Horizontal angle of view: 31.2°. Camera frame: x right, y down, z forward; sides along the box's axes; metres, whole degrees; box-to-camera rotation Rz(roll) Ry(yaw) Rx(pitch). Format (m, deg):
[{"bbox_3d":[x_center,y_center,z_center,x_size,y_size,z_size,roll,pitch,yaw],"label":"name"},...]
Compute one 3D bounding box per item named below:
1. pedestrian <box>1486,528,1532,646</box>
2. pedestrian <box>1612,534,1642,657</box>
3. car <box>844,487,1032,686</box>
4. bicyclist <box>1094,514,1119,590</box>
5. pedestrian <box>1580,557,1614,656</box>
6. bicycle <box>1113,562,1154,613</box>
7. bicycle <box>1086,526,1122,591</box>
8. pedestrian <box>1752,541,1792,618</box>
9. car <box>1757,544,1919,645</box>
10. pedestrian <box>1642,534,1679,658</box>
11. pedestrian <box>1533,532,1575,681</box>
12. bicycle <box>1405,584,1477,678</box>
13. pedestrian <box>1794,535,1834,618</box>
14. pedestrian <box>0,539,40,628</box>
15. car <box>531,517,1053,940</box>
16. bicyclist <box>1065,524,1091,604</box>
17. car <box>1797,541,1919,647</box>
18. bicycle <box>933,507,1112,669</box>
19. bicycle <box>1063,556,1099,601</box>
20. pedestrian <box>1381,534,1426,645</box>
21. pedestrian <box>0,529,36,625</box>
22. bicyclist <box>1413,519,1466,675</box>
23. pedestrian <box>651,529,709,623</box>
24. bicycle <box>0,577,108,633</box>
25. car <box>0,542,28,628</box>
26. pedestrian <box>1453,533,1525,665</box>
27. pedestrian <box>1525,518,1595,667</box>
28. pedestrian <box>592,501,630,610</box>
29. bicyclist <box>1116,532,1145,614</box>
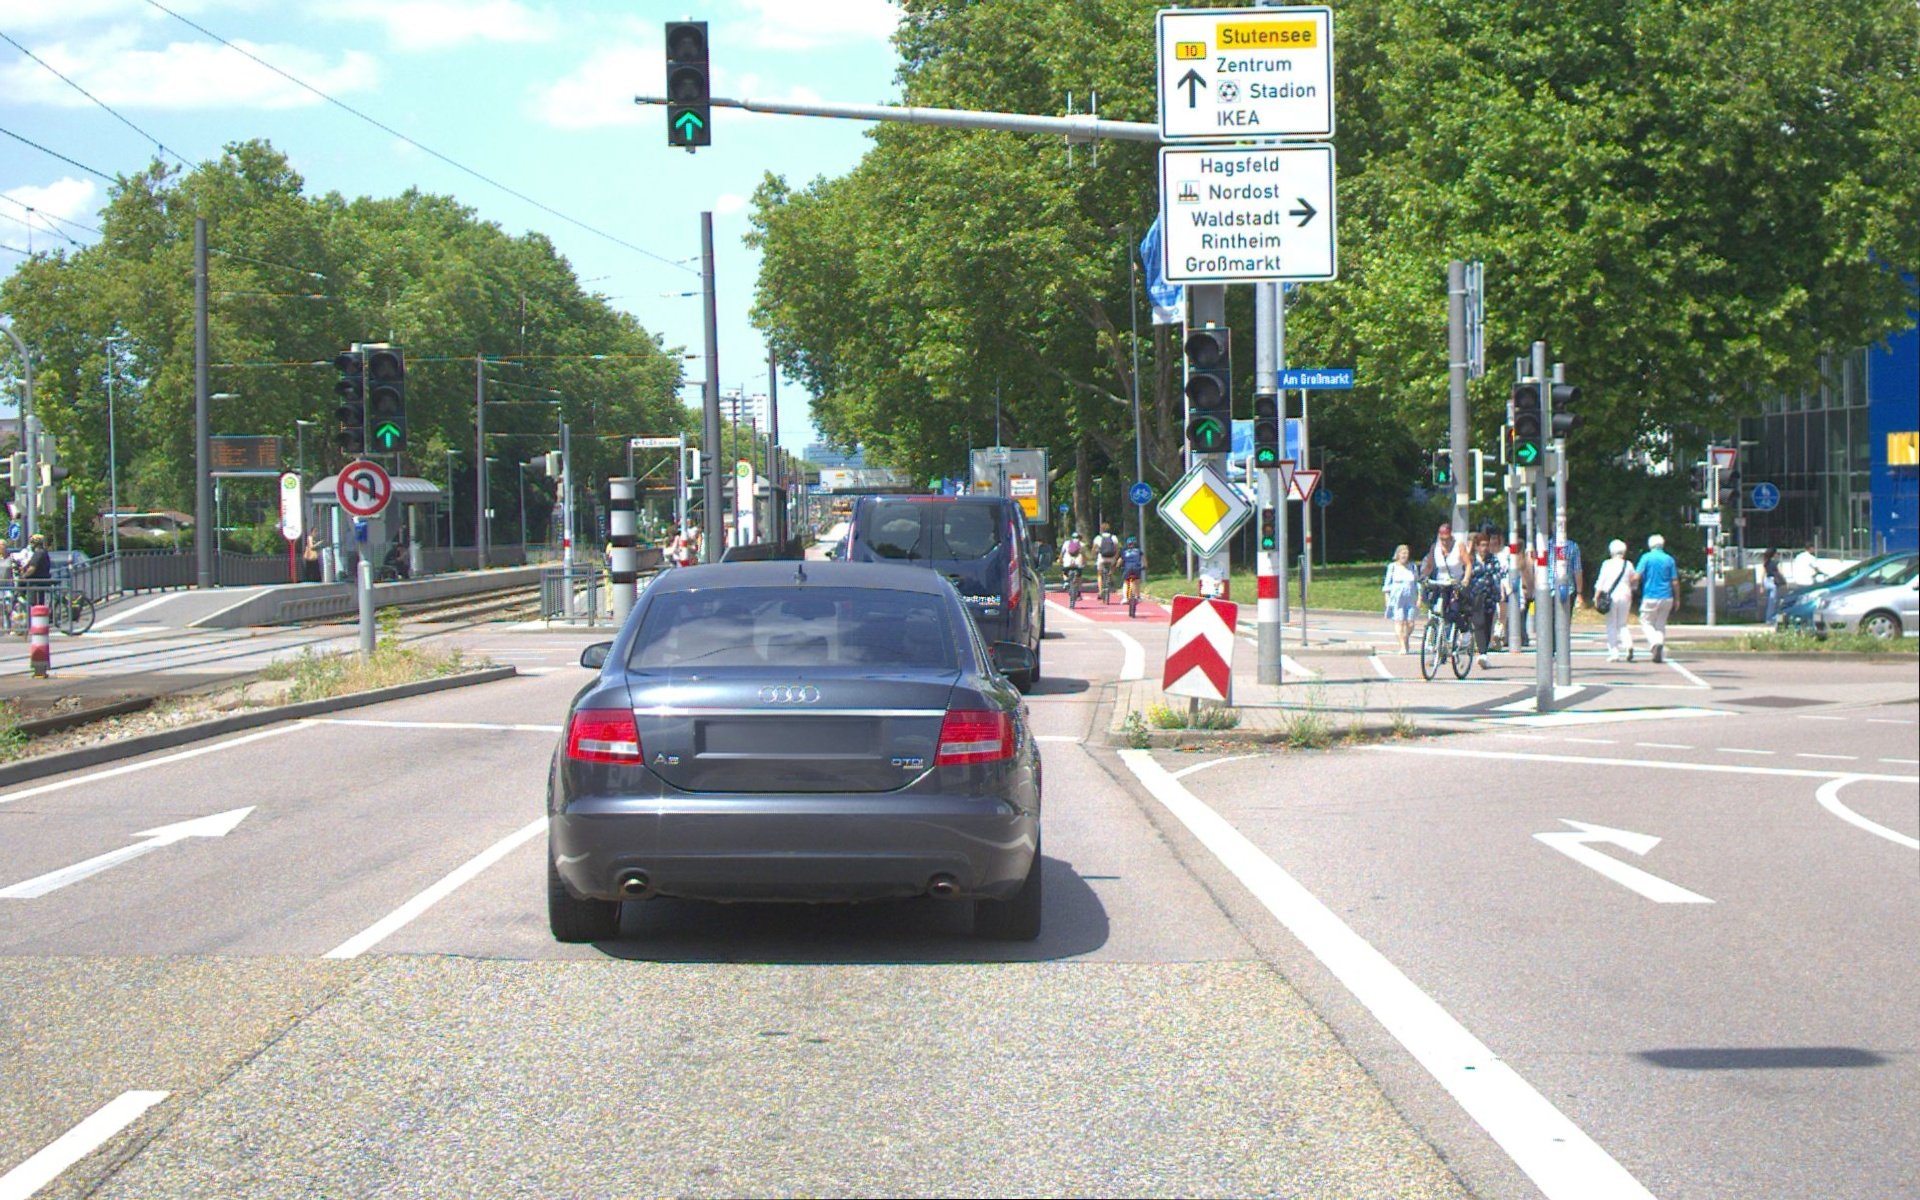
[{"bbox_3d":[7.651,-0.180,47.926,0.554,1.629,0.433,1,1,2],"label":"pedestrian"},{"bbox_3d":[8.848,-0.066,45.632,0.320,1.629,0.377,1,1,2],"label":"pedestrian"},{"bbox_3d":[-0.257,-0.164,35.642,1.836,1.943,4.000,0,1,-1],"label":"car"},{"bbox_3d":[3.451,-1.135,81.152,0.528,1.783,1.088,0,1,-1],"label":"bicyclist"},{"bbox_3d":[8.462,0.083,45.666,0.372,1.299,0.365,1,1,2],"label":"pedestrian"},{"bbox_3d":[3.594,-0.262,71.375,0.687,1.002,2.752,1,1,-1],"label":"bicycle"},{"bbox_3d":[3.422,-1.007,81.889,0.687,1.514,2.752,1,1,-1],"label":"bicycle"},{"bbox_3d":[16.276,-0.414,68.896,0.705,1.539,0.677,1,1,18],"label":"pedestrian"},{"bbox_3d":[14.589,-0.077,53.796,3.789,1.481,2.000,2,1,3],"label":"car"},{"bbox_3d":[9.294,-0.053,45.621,0.398,1.629,0.371,1,1,2],"label":"pedestrian"},{"bbox_3d":[6.533,0.070,37.823,0.381,1.629,0.377,1,1,2],"label":"pedestrian"},{"bbox_3d":[5.502,0.338,39.241,0.660,1.018,1.860,1,1,13],"label":"bicycle"},{"bbox_3d":[17.021,-0.474,68.520,0.705,1.629,0.611,1,1,18],"label":"pedestrian"},{"bbox_3d":[-16.602,-0.295,60.513,0.685,1.559,0.573,0,1,-4],"label":"pedestrian"},{"bbox_3d":[-0.609,0.395,13.841,1.792,1.450,4.000,0,1,-1],"label":"car"},{"bbox_3d":[2.669,-0.810,77.629,0.528,1.783,1.088,0,1,0],"label":"bicyclist"},{"bbox_3d":[14.802,-0.063,50.546,4.497,1.481,2.000,2,1,3],"label":"car"},{"bbox_3d":[0.871,-0.182,45.011,1.994,2.007,3.999,1,1,6],"label":"bicycle"},{"bbox_3d":[2.724,-0.494,77.497,0.687,0.990,2.752,1,1,-1],"label":"bicycle"},{"bbox_3d":[6.118,-0.145,47.423,0.494,1.514,0.706,1,1,17],"label":"pedestrian"},{"bbox_3d":[-17.238,-0.429,61.933,0.824,1.714,0.774,1,1,21],"label":"pedestrian"},{"bbox_3d":[5.476,-0.040,39.211,0.529,1.758,0.827,0,1,13],"label":"bicyclist"},{"bbox_3d":[-4.665,-0.408,57.253,0.742,1.550,0.607,1,1,36],"label":"pedestrian"},{"bbox_3d":[-15.600,0.082,58.551,2.055,0.922,0.753,0,1,-11],"label":"bicycle"},{"bbox_3d":[-19.570,-0.288,66.347,1.822,1.664,4.461,1,1,1],"label":"car"},{"bbox_3d":[6.648,-0.019,43.205,0.714,1.629,0.706,1,1,25],"label":"pedestrian"},{"bbox_3d":[7.502,-0.104,42.949,0.685,1.840,0.706,1,1,25],"label":"pedestrian"},{"bbox_3d":[-6.468,-0.832,63.754,0.685,2.007,0.573,0,1,-5],"label":"pedestrian"},{"bbox_3d":[3.536,-0.564,71.322,0.528,1.670,1.088,0,1,-1],"label":"bicyclist"}]
